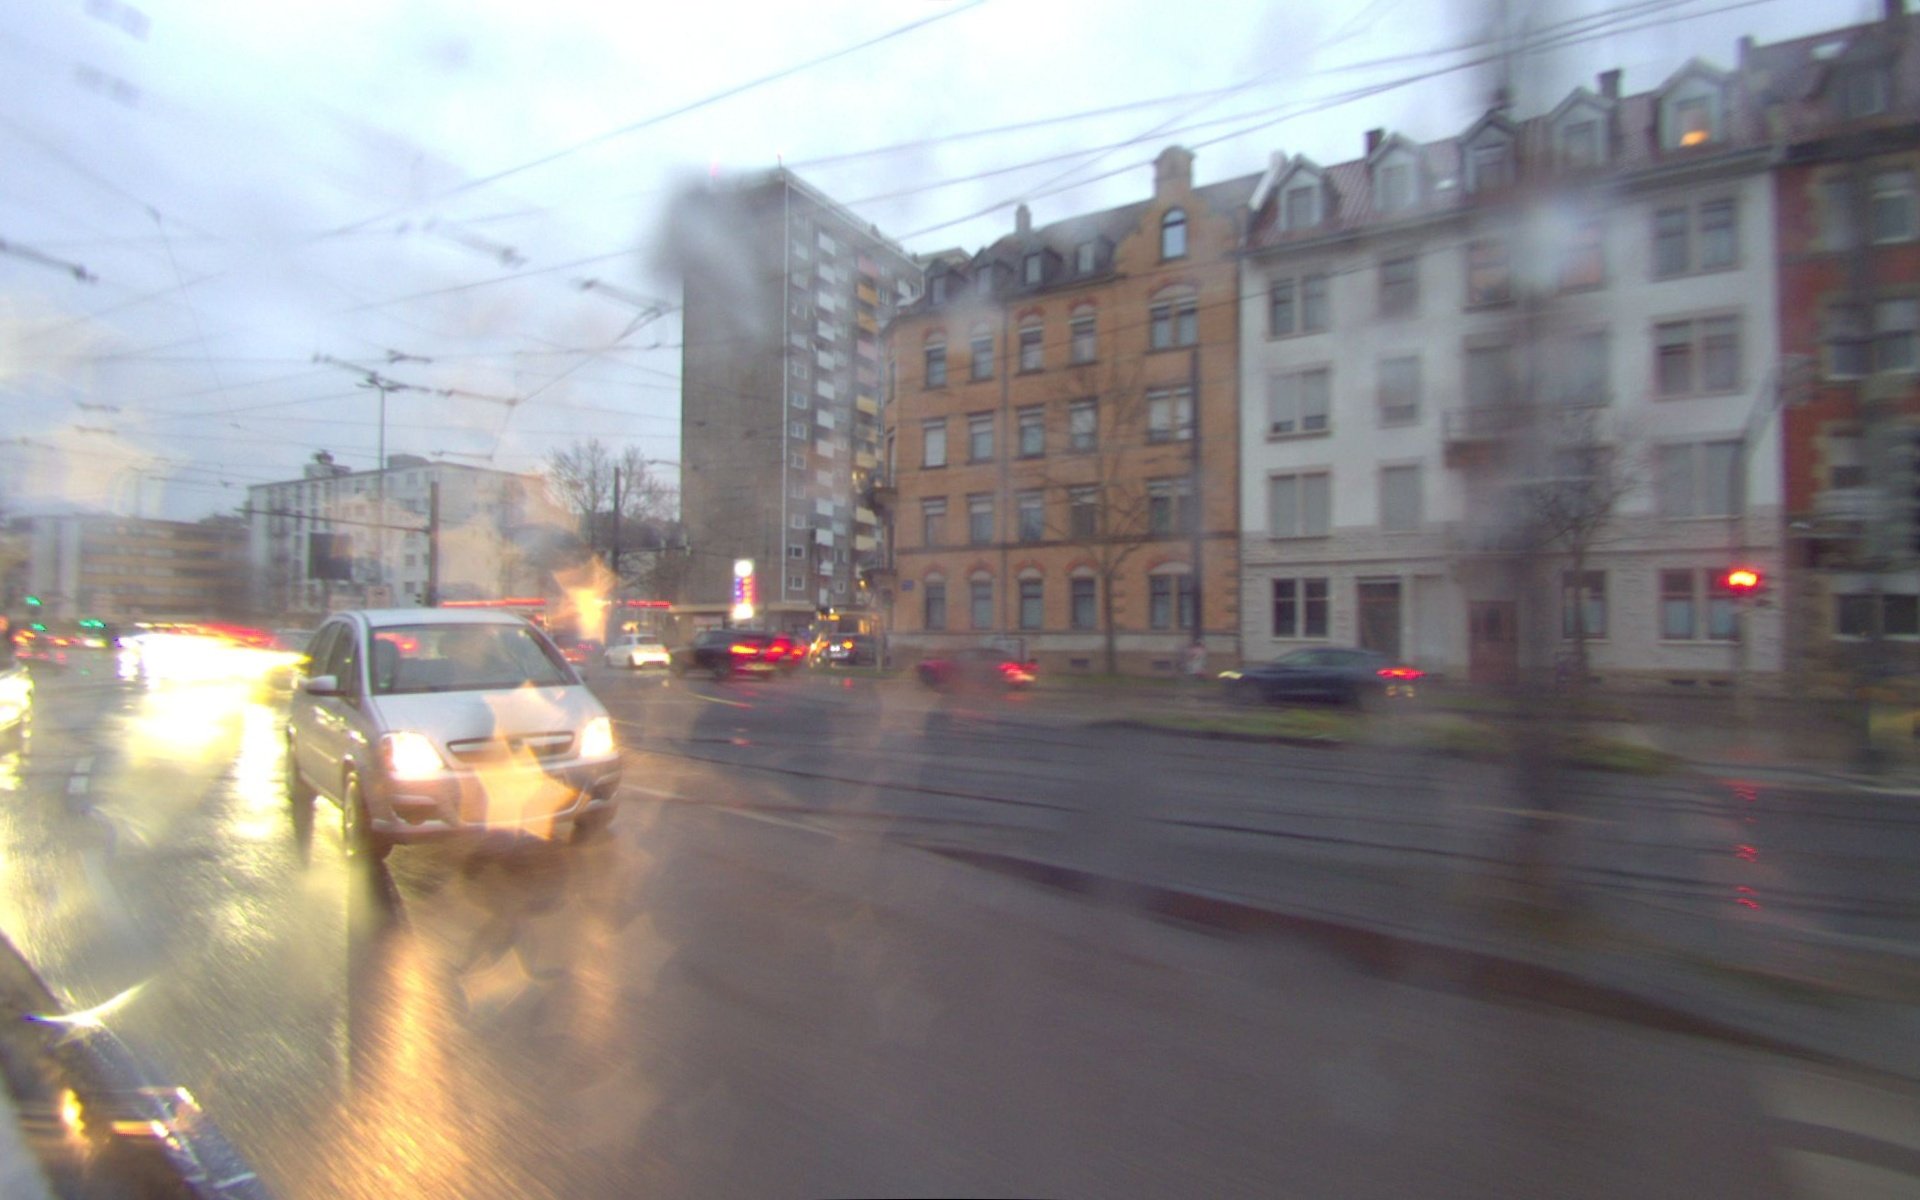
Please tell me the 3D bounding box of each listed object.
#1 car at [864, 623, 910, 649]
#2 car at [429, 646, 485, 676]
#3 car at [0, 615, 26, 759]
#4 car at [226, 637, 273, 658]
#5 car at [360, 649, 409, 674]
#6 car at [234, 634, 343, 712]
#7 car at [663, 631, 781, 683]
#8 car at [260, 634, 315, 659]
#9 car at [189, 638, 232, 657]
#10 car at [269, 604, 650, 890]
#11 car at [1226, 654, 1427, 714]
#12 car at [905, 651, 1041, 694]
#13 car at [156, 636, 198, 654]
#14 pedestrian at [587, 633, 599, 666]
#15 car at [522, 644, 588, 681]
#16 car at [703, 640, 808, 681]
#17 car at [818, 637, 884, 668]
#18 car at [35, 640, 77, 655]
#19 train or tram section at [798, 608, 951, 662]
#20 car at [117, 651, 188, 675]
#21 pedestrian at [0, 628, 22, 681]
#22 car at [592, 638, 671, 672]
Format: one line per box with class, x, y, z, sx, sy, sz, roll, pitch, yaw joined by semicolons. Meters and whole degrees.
car;-5.853;2.894;81.738;1.990;2.029;3.963;-1;-1;27
car;-26.295;3.138;52.842;1.659;1.468;4.341;2;-3;-40
car;-11.583;0.967;11.120;1.624;1.596;3.812;1;-2;-38
car;-55.904;3.738;79.640;4.651;1.643;1.630;-2;-4;37
car;-35.772;3.804;62.841;1.660;1.468;4.066;3;-3;-44
car;-14.837;1.583;22.530;1.724;1.556;4.012;2;-4;-30
car;-7.696;1.779;32.478;4.121;1.565;1.662;-2;-3;43
car;-55.880;3.824;84.030;4.840;1.961;1.977;-1;-5;33
car;-62.310;3.947;84.104;4.134;1.498;1.631;-2;-4;35
car;-3.975;0.879;7.652;1.625;1.560;4.116;2;-3;-40
car;8.346;1.878;23.219;4.078;1.236;1.523;-2;-3;36
car;0.340;2.068;29.484;3.784;1.143;1.584;-2;-3;38
car;-63.198;3.609;81.657;3.843;1.461;1.629;-1;-2;36
pedestrian;-20.036;2.683;55.248;0.461;1.785;0.630;2;-2;-37
car;-17.178;2.626;42.852;3.154;1.498;1.470;-2;-3;45
car;-7.455;2.152;36.692;1.660;1.364;4.391;2;-3;-43
car;-5.621;2.686;52.578;1.673;1.537;4.198;-1;-3;21
car;-91.992;4.834;103.018;4.518;1.526;1.948;-2;-4;32
train or tram section;-5.241;2.229;67.840;3.148;3.212;16.184;-1;-1;22
car;-49.651;3.853;62.223;4.518;1.397;1.948;-2;-4;32
pedestrian;-34.252;1.951;36.255;0.564;1.852;0.685;8;-8;-30
car;-14.235;2.352;43.770;3.613;1.402;1.662;-2;-3;42
